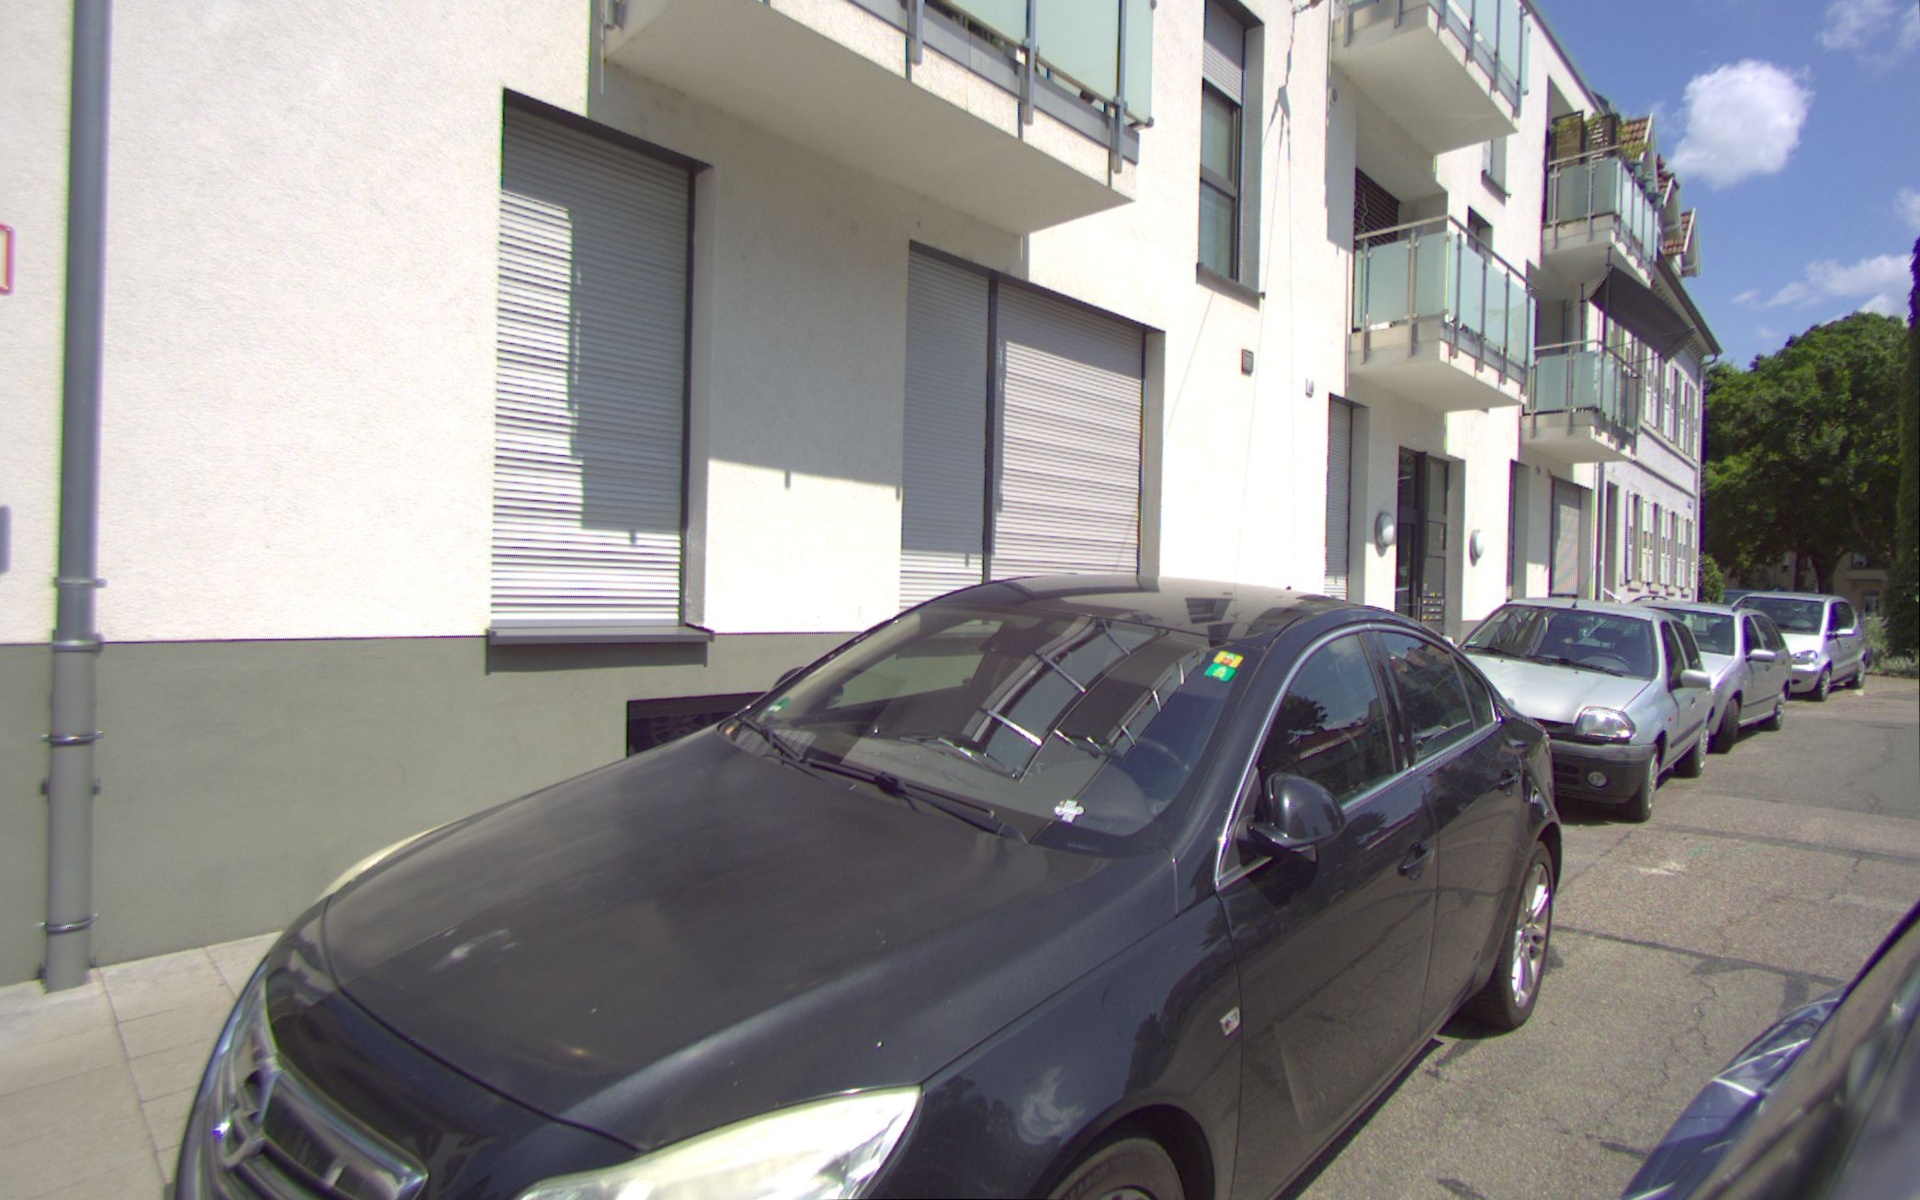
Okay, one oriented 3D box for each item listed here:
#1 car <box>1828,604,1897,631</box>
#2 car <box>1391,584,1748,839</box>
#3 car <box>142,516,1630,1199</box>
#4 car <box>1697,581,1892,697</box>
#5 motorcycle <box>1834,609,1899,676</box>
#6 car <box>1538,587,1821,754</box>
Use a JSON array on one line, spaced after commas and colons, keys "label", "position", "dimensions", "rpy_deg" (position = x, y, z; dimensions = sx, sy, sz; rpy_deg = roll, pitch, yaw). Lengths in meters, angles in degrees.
[{"label": "car", "position": [60.290, 1.162, 67.713], "dimensions": [1.750, 1.407, 3.858], "rpy_deg": [7, 3, 15]}, {"label": "car", "position": [4.989, 0.663, 8.076], "dimensions": [1.594, 1.450, 3.648], "rpy_deg": [7, 5, 44]}, {"label": "car", "position": [0.521, 0.650, 3.080], "dimensions": [1.800, 1.527, 4.478], "rpy_deg": [6, 5, 42]}, {"label": "car", "position": [13.890, 0.548, 16.797], "dimensions": [3.732, 1.630, 1.731], "rpy_deg": [-1, 4, -39]}, {"label": "motorcycle", "position": [19.800, 0.895, 22.094], "dimensions": [2.298, 1.369, 0.801], "rpy_deg": [0, 1, -42]}, {"label": "car", "position": [8.301, 0.658, 11.542], "dimensions": [3.973, 1.450, 1.730], "rpy_deg": [0, 5, -42]}]
